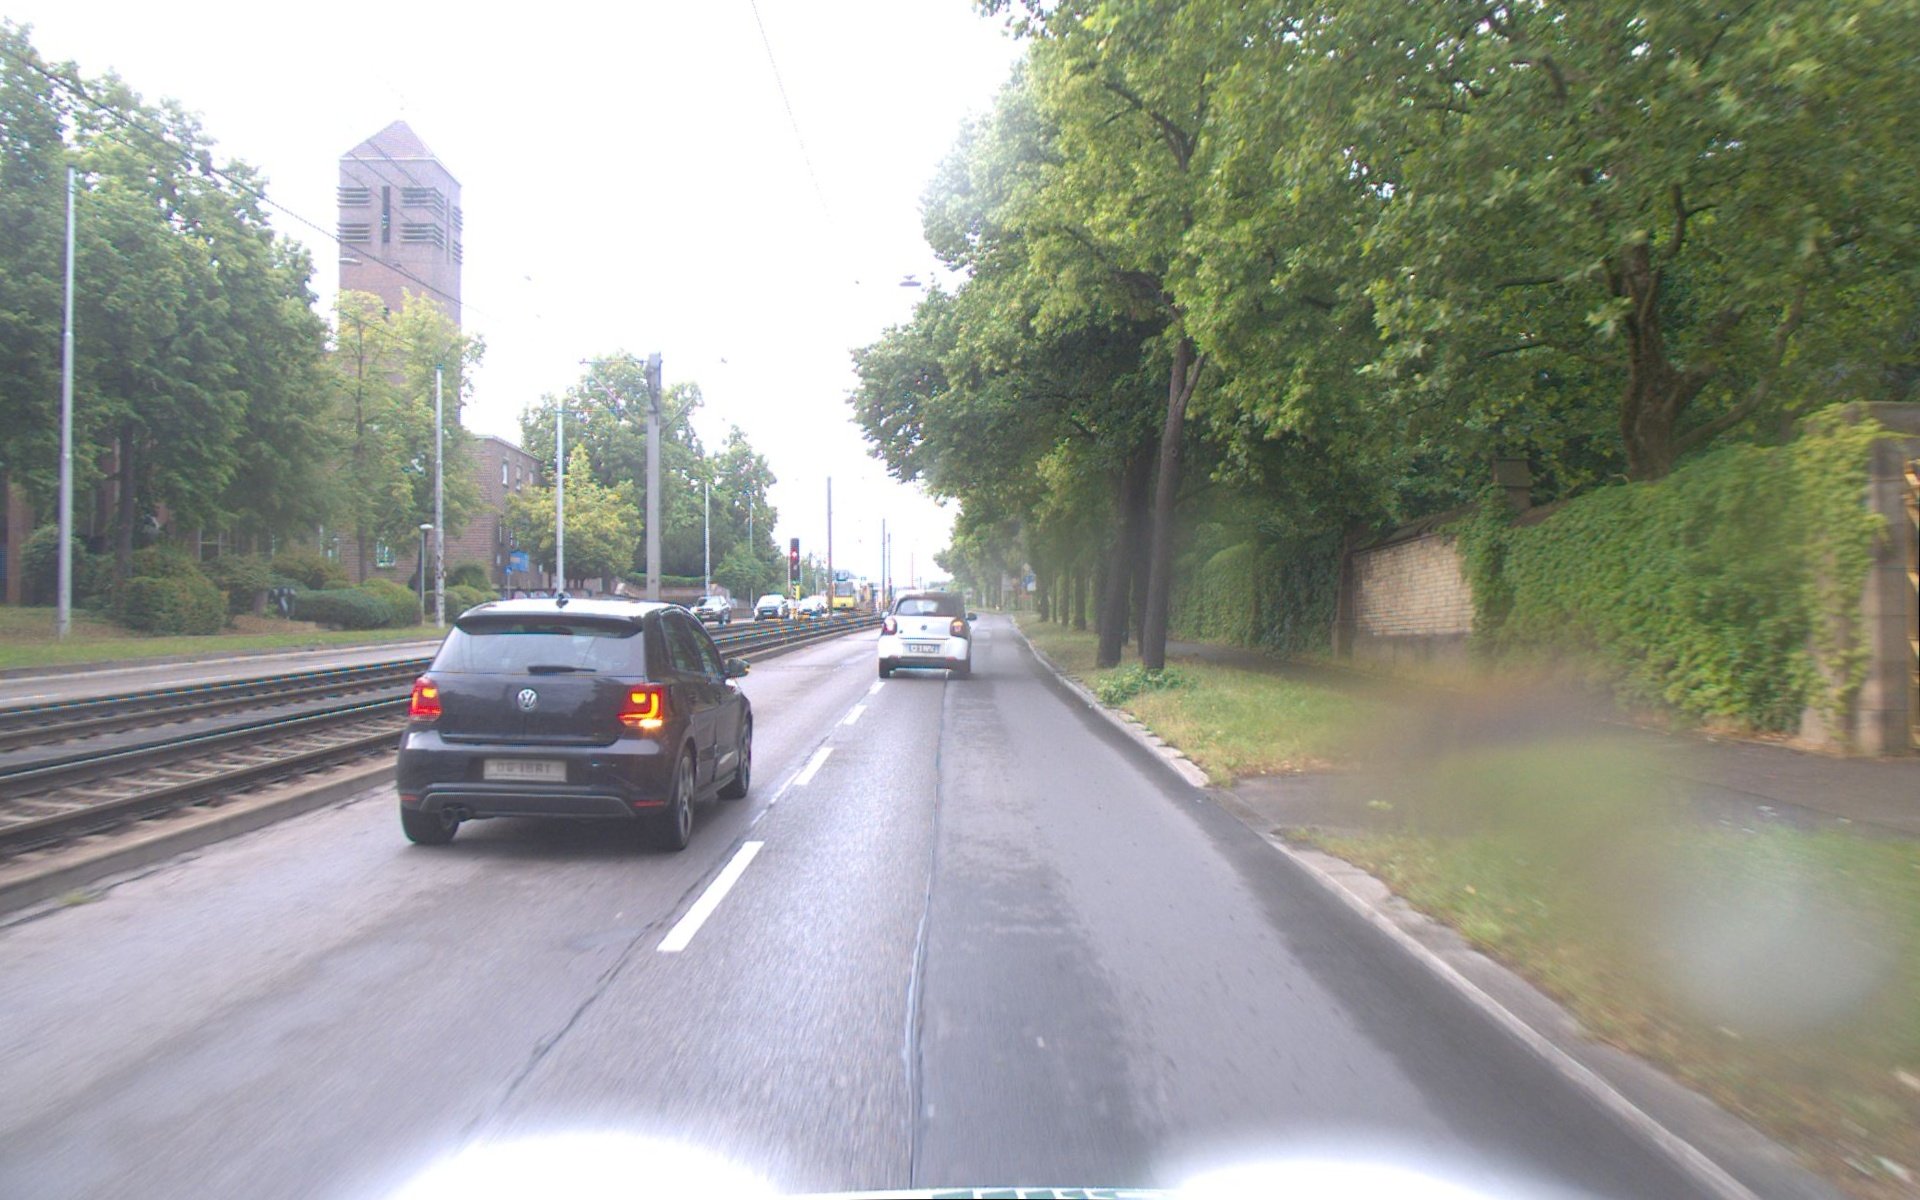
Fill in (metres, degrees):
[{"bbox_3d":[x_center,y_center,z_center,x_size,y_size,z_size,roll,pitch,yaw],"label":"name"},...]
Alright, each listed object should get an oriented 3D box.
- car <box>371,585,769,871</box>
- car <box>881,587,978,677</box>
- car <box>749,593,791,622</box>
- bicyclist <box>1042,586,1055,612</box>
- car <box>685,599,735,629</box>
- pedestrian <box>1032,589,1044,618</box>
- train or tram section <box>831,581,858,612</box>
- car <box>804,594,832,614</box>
[{"bbox_3d":[-2.334,0.676,10.930,1.758,1.511,3.963,1,0,-2],"label":"car"},{"bbox_3d":[-0.515,0.601,30.812,1.641,1.558,3.721,0,-1,1],"label":"car"},{"bbox_3d":[-11.400,0.422,99.713,1.796,1.685,4.241,0,0,3],"label":"car"},{"bbox_3d":[5.687,-0.045,106.154,0.747,1.644,0.999,0,0,0],"label":"bicyclist"},{"bbox_3d":[-14.546,0.816,96.512,1.970,1.685,4.619,0,0,3],"label":"car"},{"bbox_3d":[8.198,0.377,173.374,1.140,3.029,0.948,1,0,0],"label":"pedestrian"},{"bbox_3d":[-14.067,-0.415,200.693,2.778,3.668,9.258,1,0,-6],"label":"train or tram section"},{"bbox_3d":[-10.768,0.269,125.635,1.646,1.487,3.609,0,0,2],"label":"car"}]
